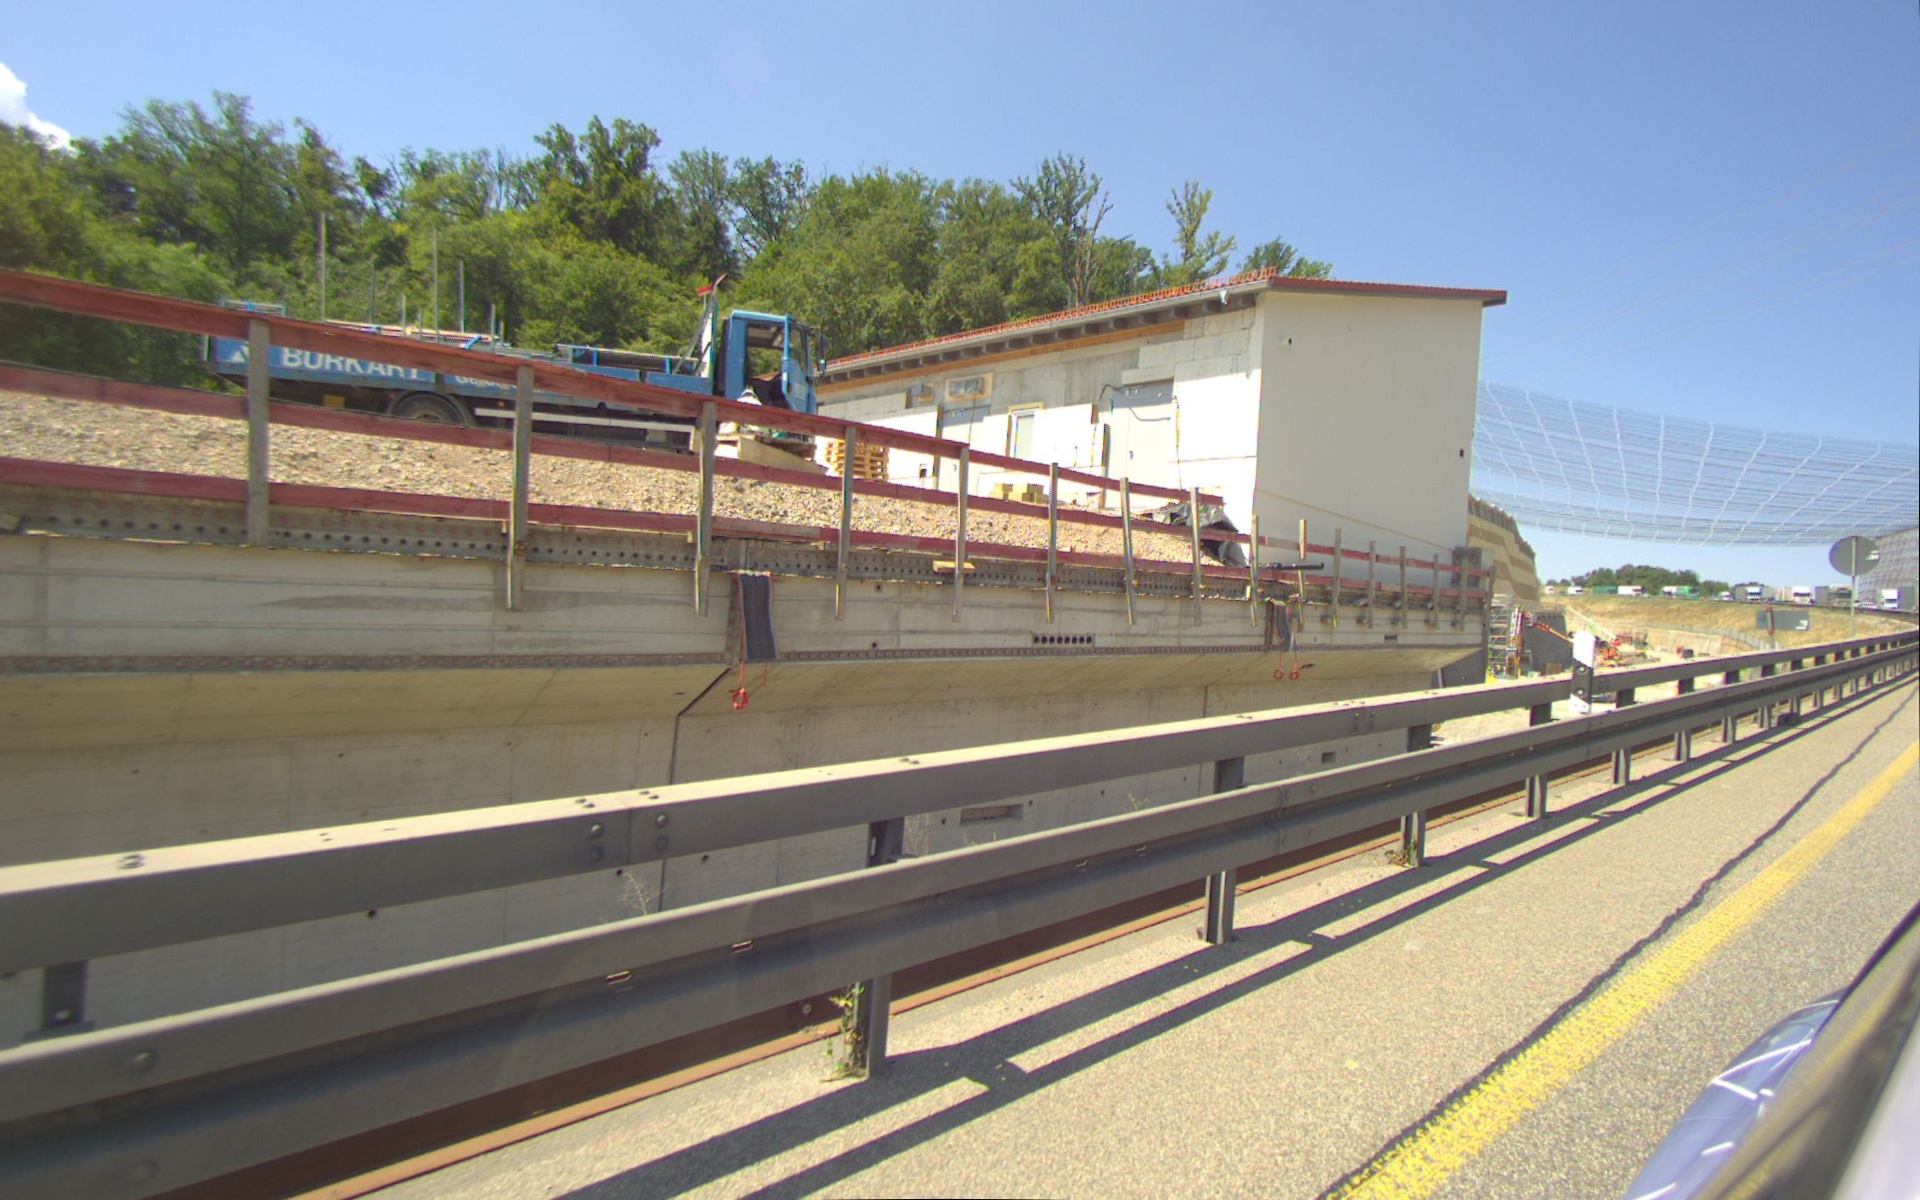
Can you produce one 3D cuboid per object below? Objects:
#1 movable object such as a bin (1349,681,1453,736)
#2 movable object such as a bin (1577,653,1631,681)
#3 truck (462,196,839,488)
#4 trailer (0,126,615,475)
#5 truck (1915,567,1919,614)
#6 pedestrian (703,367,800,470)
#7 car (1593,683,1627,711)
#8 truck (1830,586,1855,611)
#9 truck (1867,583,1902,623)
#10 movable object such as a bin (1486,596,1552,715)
[{"bbox_3d":[25.243,6.147,58.055,2.023,2.625,5.114,1,-1,-41],"label":"movable object such as a bin"},{"bbox_3d":[72.476,7.496,114.005,2.175,2.669,5.506,-1,0,-5],"label":"movable object such as a bin"},{"bbox_3d":[-5.182,-4.144,17.450,5.590,3.742,2.725,3,-1,-18],"label":"truck"},{"bbox_3d":[-10.175,-4.345,15.847,8.805,3.742,2.725,3,-1,-18],"label":"trailer"},{"bbox_3d":[90.759,-0.918,93.908,2.901,4.285,9.100,-1,0,42],"label":"truck"},{"bbox_3d":[-2.872,-2.456,13.890,0.975,1.165,1.023,-1,0,-35],"label":"pedestrian"},{"bbox_3d":[57.420,8.533,89.350,1.991,2.039,3.941,0,0,41],"label":"car"},{"bbox_3d":[147.854,-0.306,169.568,3.031,4.107,8.546,-1,0,41],"label":"truck"},{"bbox_3d":[117.992,0.332,129.259,3.031,4.866,8.808,-1,0,41],"label":"truck"},{"bbox_3d":[36.995,3.465,66.918,2.918,7.445,6.156,-1,0,37],"label":"movable object such as a bin"}]
